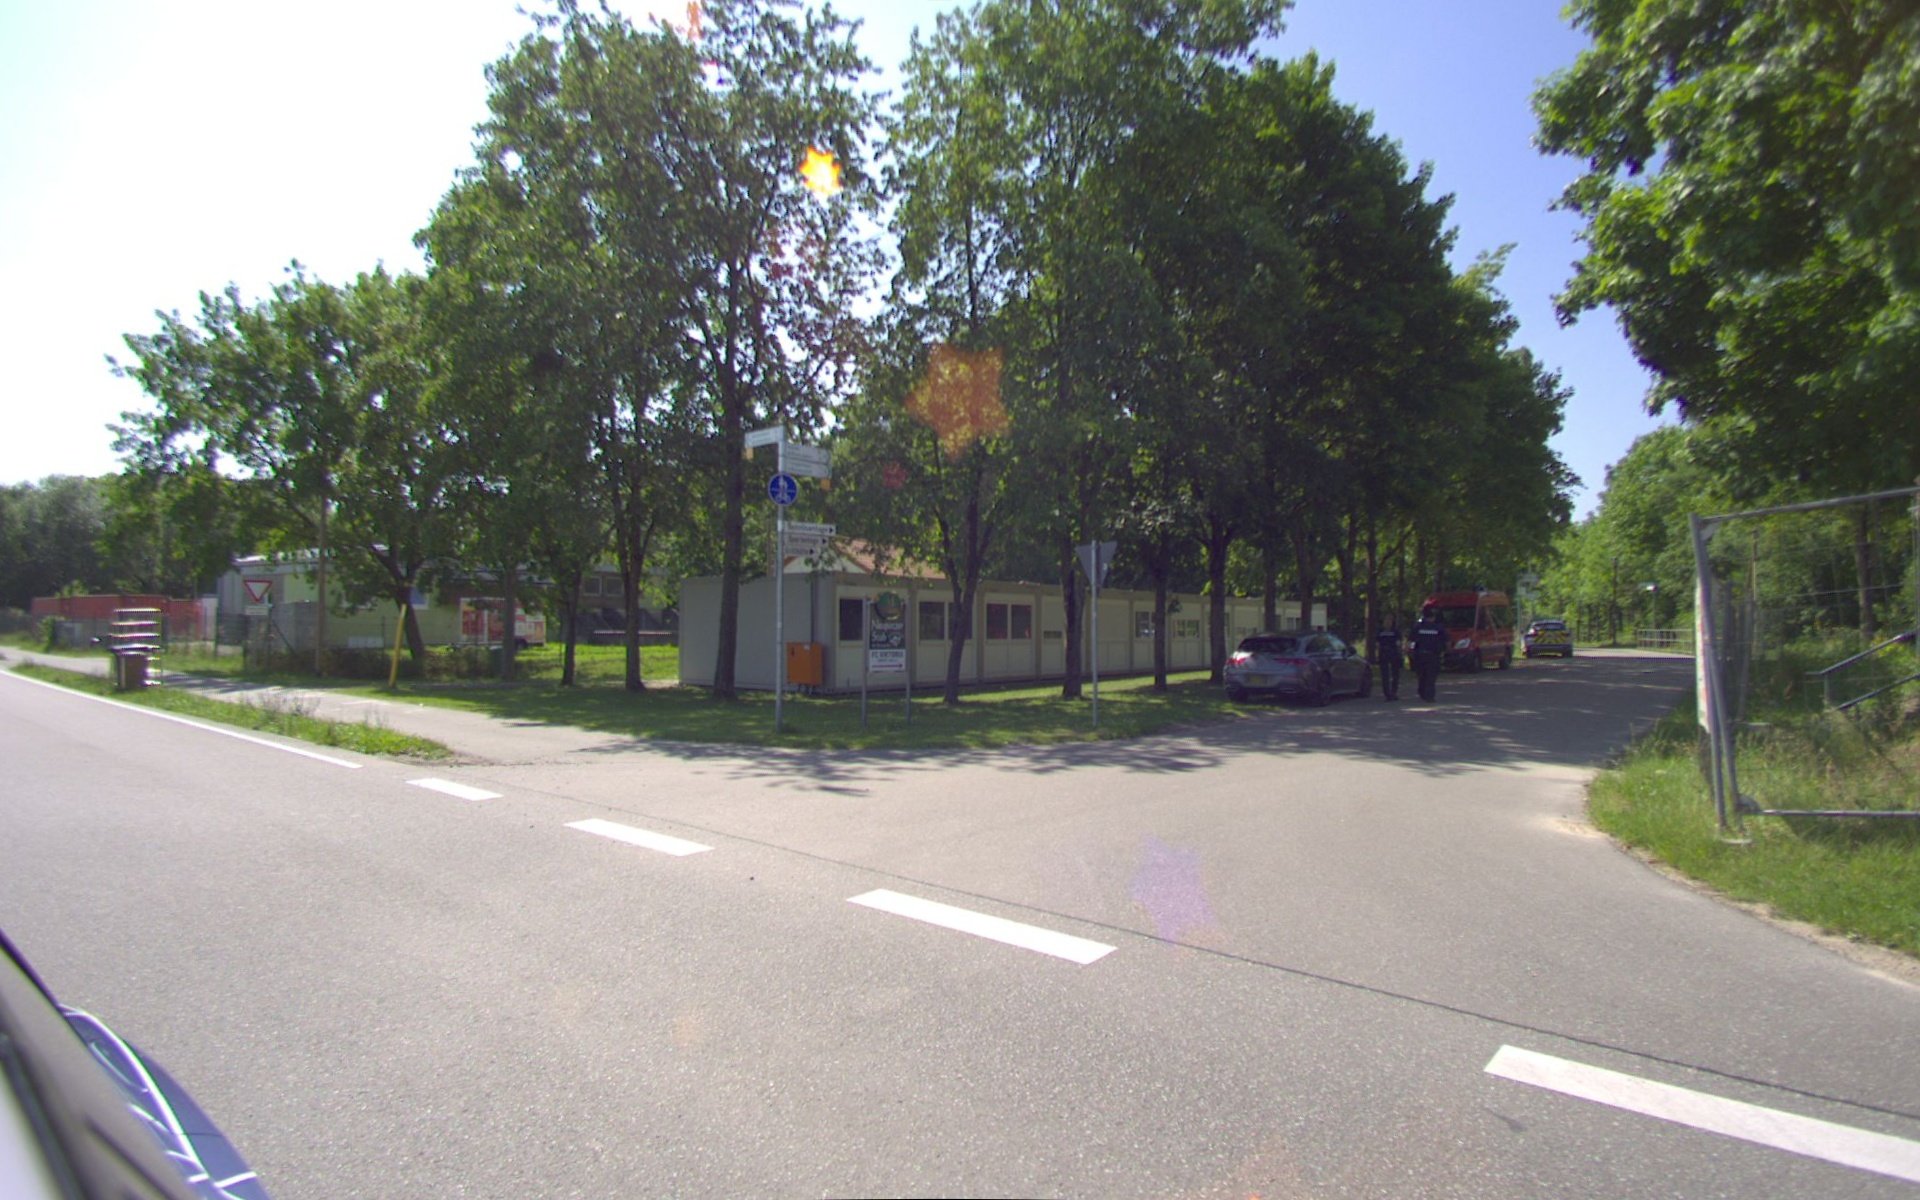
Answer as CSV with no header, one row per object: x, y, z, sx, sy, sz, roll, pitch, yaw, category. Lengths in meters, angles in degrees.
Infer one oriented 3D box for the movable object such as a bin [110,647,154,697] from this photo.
-17.869,1.543,21.834,0.690,1.032,0.749,2,-3,-41,movable object such as a bin

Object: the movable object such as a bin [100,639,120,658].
-39.078,2.231,46.539,0.631,0.861,0.654,2,-3,-43,movable object such as a bin

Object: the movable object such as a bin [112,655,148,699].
-17.394,1.602,21.205,0.555,0.883,0.614,2,-3,-41,movable object such as a bin

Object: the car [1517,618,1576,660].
25.694,1.711,44.424,1.655,1.763,3.722,-1,-2,22,car

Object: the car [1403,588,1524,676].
16.472,1.052,32.922,2.120,2.597,5.997,-2,-3,40,car

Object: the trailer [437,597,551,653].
-20.006,1.120,43.592,1.820,2.295,4.197,-1,-3,28,trailer

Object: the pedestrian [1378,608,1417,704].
8.241,1.042,19.064,0.585,1.764,0.598,-1,-3,32,pedestrian

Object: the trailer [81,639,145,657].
-41.291,2.332,49.330,3.350,0.873,1.616,-1,-3,35,trailer

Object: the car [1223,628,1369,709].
6.628,1.282,19.733,1.754,1.410,3.768,-1,-3,34,car

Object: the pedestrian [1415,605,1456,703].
8.752,0.987,18.620,0.585,1.764,0.598,-1,-3,32,pedestrian
